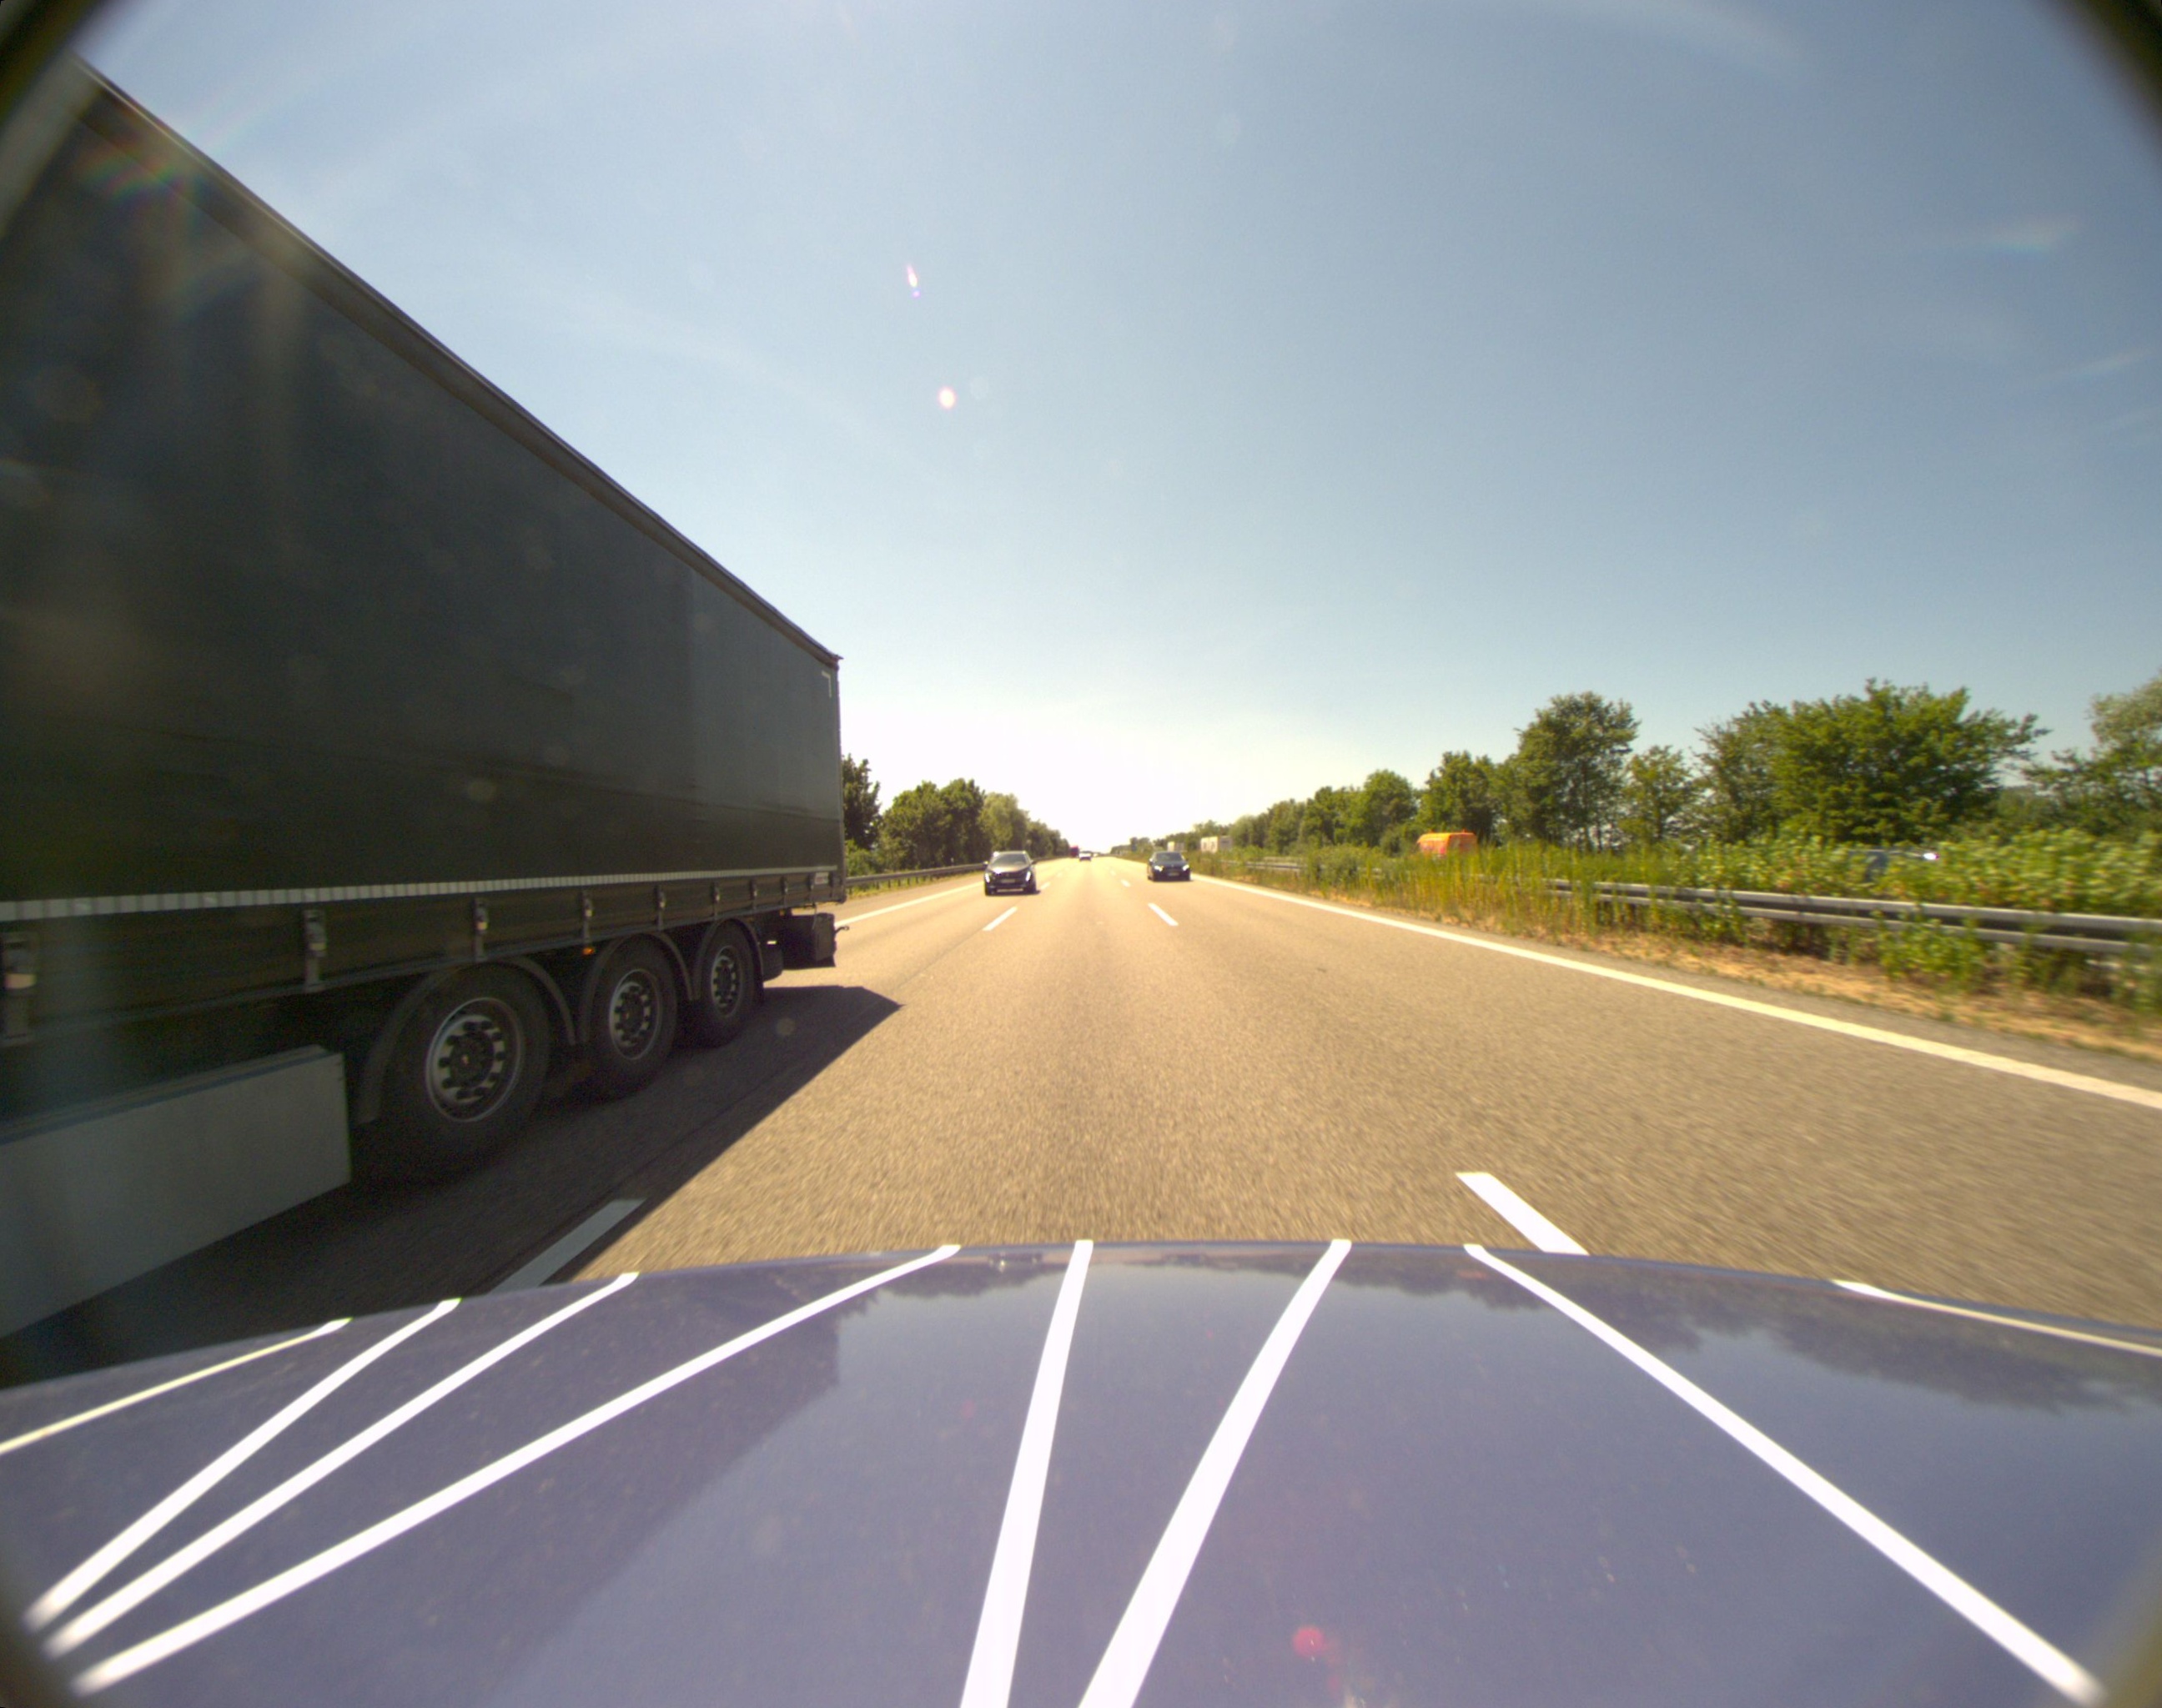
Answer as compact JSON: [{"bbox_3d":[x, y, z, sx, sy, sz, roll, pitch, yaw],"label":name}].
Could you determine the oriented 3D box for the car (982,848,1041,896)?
[{"bbox_3d":[-2.628,0.640,29.564,1.796,1.696,4.000,-2,1,1],"label":"car"}]

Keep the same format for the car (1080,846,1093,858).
[{"bbox_3d":[0.932,-0.351,127.933,2.147,1.810,5.267,-2,1,1],"label":"car"}]

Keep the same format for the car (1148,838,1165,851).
[{"bbox_3d":[19.244,-2.440,194.109,3.516,3.274,8.513,-2,1,0],"label":"car"}]

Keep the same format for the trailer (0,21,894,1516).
[{"bbox_3d":[-4.089,-0.243,4.035,2.559,3.931,13.537,-2,0,1],"label":"trailer"}]

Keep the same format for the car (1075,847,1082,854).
[{"bbox_3d":[-0.743,-1.052,225.960,1.998,2.002,4.000,-2,1,1],"label":"car"}]

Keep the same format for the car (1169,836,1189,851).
[{"bbox_3d":[23.653,-2.495,184.342,3.516,3.274,8.513,-2,1,0],"label":"car"}]

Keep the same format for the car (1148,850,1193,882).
[{"bbox_3d":[4.306,0.537,37.103,1.796,1.403,4.052,-1,1,1],"label":"car"}]

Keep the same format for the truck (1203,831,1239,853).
[{"bbox_3d":[23.357,-2.045,127.302,4.121,3.418,10.688,-2,1,1],"label":"truck"}]

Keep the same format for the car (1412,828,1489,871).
[{"bbox_3d":[21.955,-0.281,45.396,2.187,2.423,4.955,1,1,1],"label":"car"}]
